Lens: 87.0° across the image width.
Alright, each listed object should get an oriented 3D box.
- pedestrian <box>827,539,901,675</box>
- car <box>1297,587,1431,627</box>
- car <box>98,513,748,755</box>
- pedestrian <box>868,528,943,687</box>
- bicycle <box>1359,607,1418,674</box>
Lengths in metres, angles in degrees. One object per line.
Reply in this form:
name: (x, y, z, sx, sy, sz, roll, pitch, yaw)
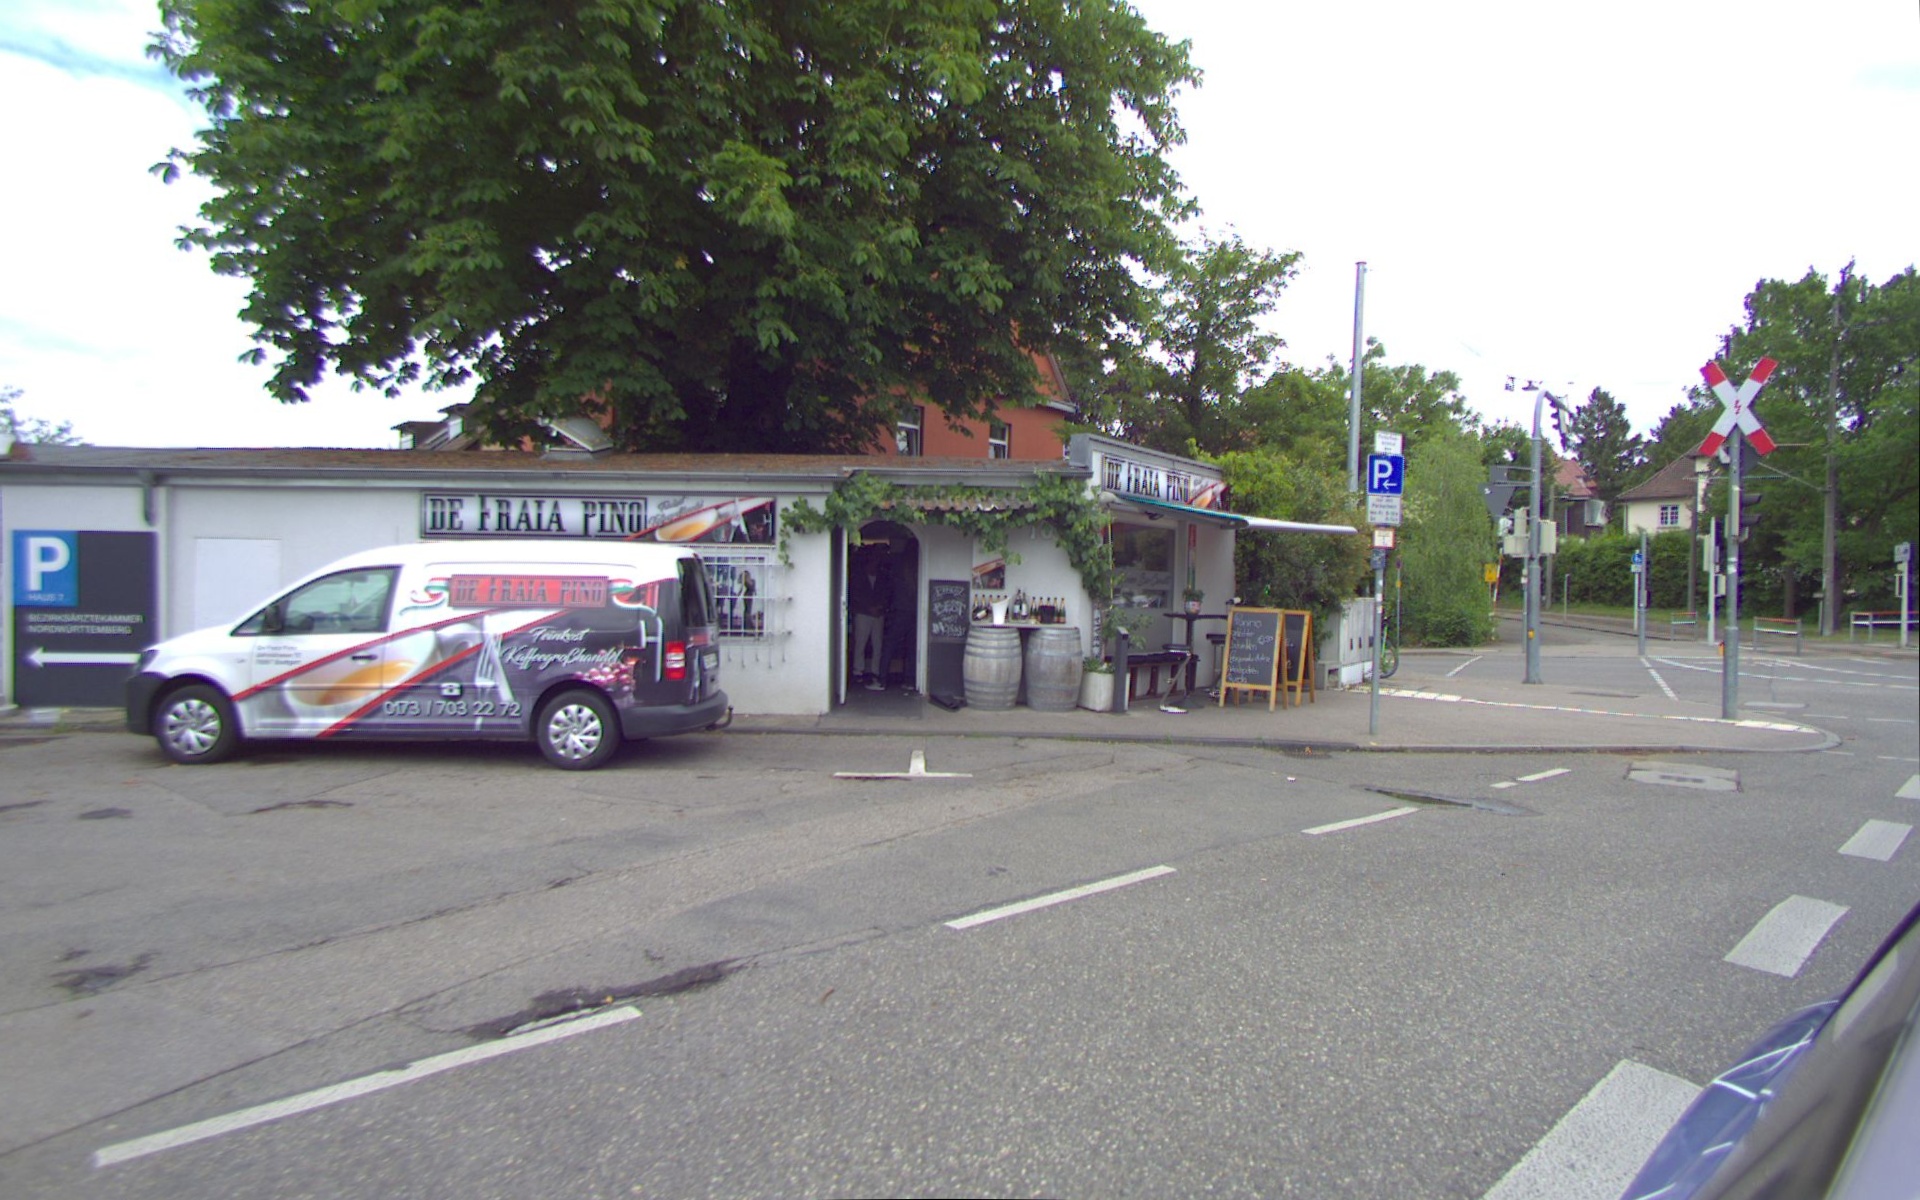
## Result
pedestrian: (-1.298, 0.094, 13.693, 0.664, 1.781, 0.687, 3, 0, -34)
car: (15.765, 0.234, 39.662, 1.967, 1.482, 4.507, 0, 0, -44)
car: (-4.313, 0.257, 8.728, 4.604, 1.770, 1.852, 1, 0, -2)
pedestrian: (-0.678, 0.090, 12.442, 0.611, 1.881, 0.688, 3, 0, -24)
bicycle: (7.852, 0.763, 18.499, 0.547, 1.154, 1.852, 0, -3, 37)
